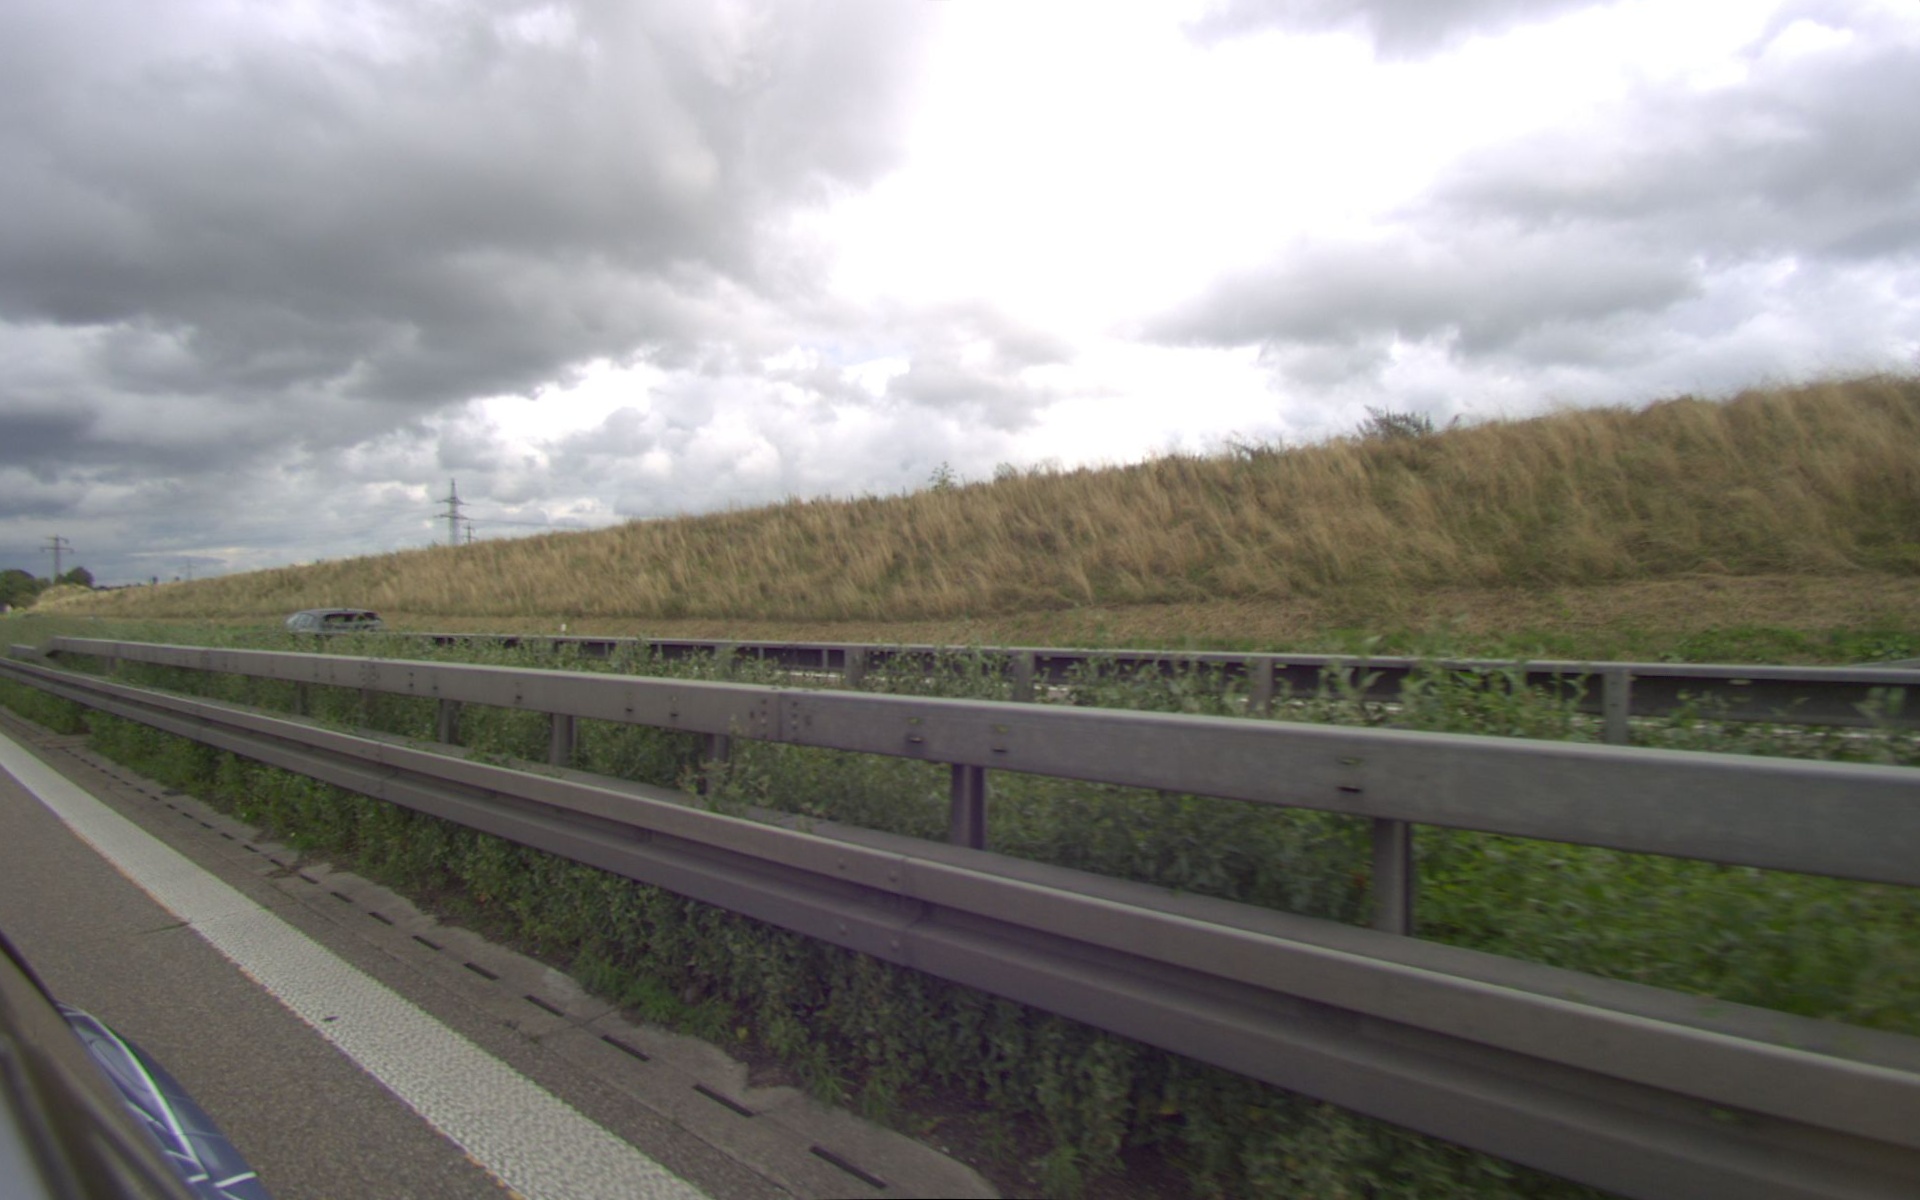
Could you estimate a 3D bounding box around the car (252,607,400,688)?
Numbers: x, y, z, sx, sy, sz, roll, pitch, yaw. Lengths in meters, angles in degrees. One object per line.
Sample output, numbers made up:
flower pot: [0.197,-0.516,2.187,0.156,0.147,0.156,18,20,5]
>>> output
car: [-14.181,0.984,22.556,3.998,1.602,1.719,0,1,41]

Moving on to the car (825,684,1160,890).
car: [0.300,2.138,12.638,3.998,1.829,1.719,0,1,41]

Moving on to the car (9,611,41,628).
car: [-82.895,1.713,89.669,4.000,1.465,1.753,0,1,43]
